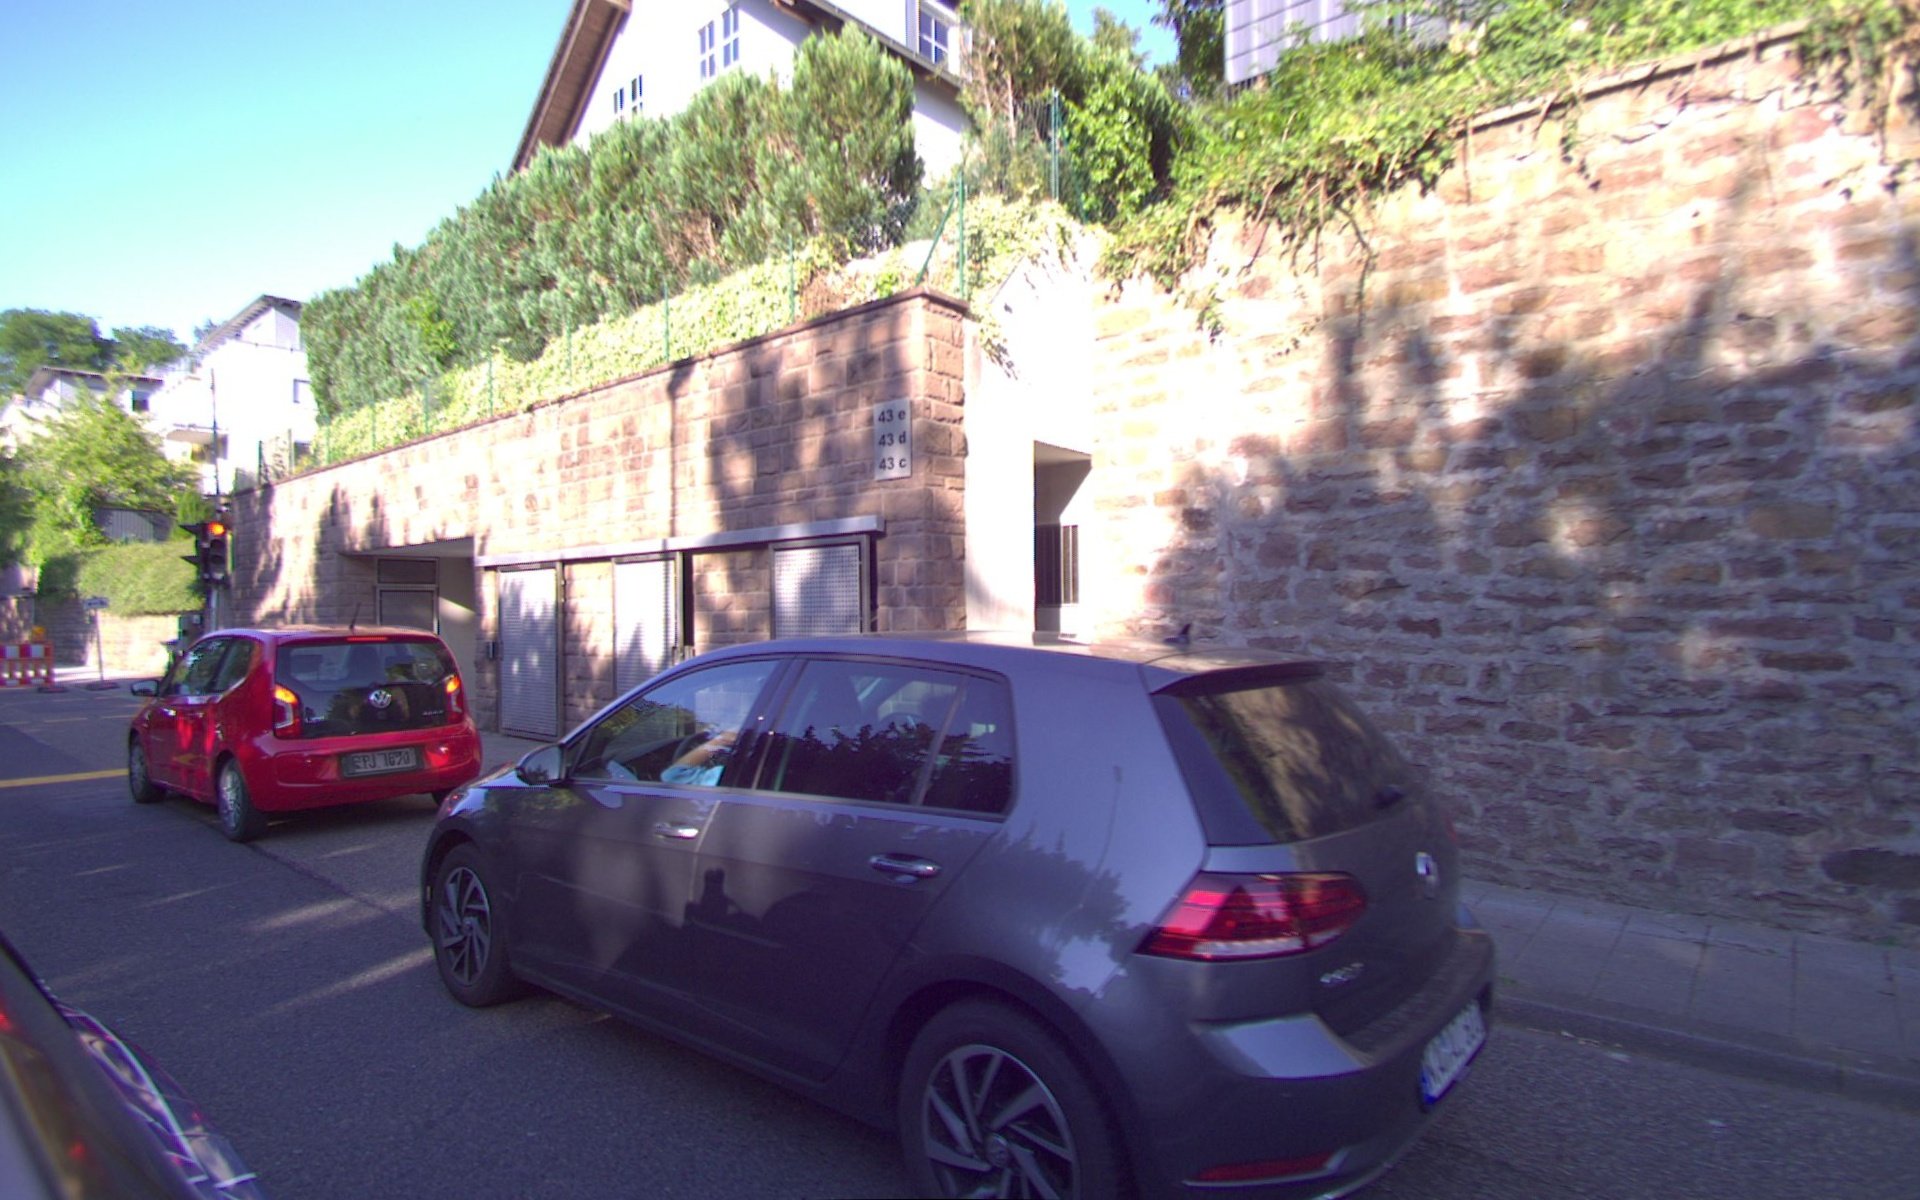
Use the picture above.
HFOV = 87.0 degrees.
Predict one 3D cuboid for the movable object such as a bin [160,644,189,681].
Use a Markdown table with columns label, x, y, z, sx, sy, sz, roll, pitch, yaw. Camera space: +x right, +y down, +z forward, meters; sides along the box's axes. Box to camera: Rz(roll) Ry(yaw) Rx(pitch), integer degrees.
| label | x | y | z | sx | sy | sz | roll | pitch | yaw |
| --- | --- | --- | --- | --- | --- | --- | --- | --- | --- |
| movable object such as a bin | -19.339 | 1.534 | 24.903 | 0.500 | 0.890 | 0.452 | -2 | -1 | 39 |

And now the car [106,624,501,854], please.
| label | x | y | z | sx | sy | sz | roll | pitch | yaw |
| --- | --- | --- | --- | --- | --- | --- | --- | --- | --- |
| car | -5.331 | 0.915 | 8.080 | 3.559 | 1.432 | 1.611 | -1 | -2 | 39 |

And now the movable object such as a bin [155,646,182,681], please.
| label | x | y | z | sx | sy | sz | roll | pitch | yaw |
| --- | --- | --- | --- | --- | --- | --- | --- | --- | --- |
| movable object such as a bin | -19.713 | 1.580 | 25.215 | 0.392 | 0.840 | 0.450 | -2 | -1 | 38 |

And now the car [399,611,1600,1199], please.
| label | x | y | z | sx | sy | sz | roll | pitch | yaw |
| --- | --- | --- | --- | --- | --- | --- | --- | --- | --- |
| car | -0.244 | 0.777 | 3.459 | 3.927 | 1.422 | 1.632 | -1 | -2 | 40 |
